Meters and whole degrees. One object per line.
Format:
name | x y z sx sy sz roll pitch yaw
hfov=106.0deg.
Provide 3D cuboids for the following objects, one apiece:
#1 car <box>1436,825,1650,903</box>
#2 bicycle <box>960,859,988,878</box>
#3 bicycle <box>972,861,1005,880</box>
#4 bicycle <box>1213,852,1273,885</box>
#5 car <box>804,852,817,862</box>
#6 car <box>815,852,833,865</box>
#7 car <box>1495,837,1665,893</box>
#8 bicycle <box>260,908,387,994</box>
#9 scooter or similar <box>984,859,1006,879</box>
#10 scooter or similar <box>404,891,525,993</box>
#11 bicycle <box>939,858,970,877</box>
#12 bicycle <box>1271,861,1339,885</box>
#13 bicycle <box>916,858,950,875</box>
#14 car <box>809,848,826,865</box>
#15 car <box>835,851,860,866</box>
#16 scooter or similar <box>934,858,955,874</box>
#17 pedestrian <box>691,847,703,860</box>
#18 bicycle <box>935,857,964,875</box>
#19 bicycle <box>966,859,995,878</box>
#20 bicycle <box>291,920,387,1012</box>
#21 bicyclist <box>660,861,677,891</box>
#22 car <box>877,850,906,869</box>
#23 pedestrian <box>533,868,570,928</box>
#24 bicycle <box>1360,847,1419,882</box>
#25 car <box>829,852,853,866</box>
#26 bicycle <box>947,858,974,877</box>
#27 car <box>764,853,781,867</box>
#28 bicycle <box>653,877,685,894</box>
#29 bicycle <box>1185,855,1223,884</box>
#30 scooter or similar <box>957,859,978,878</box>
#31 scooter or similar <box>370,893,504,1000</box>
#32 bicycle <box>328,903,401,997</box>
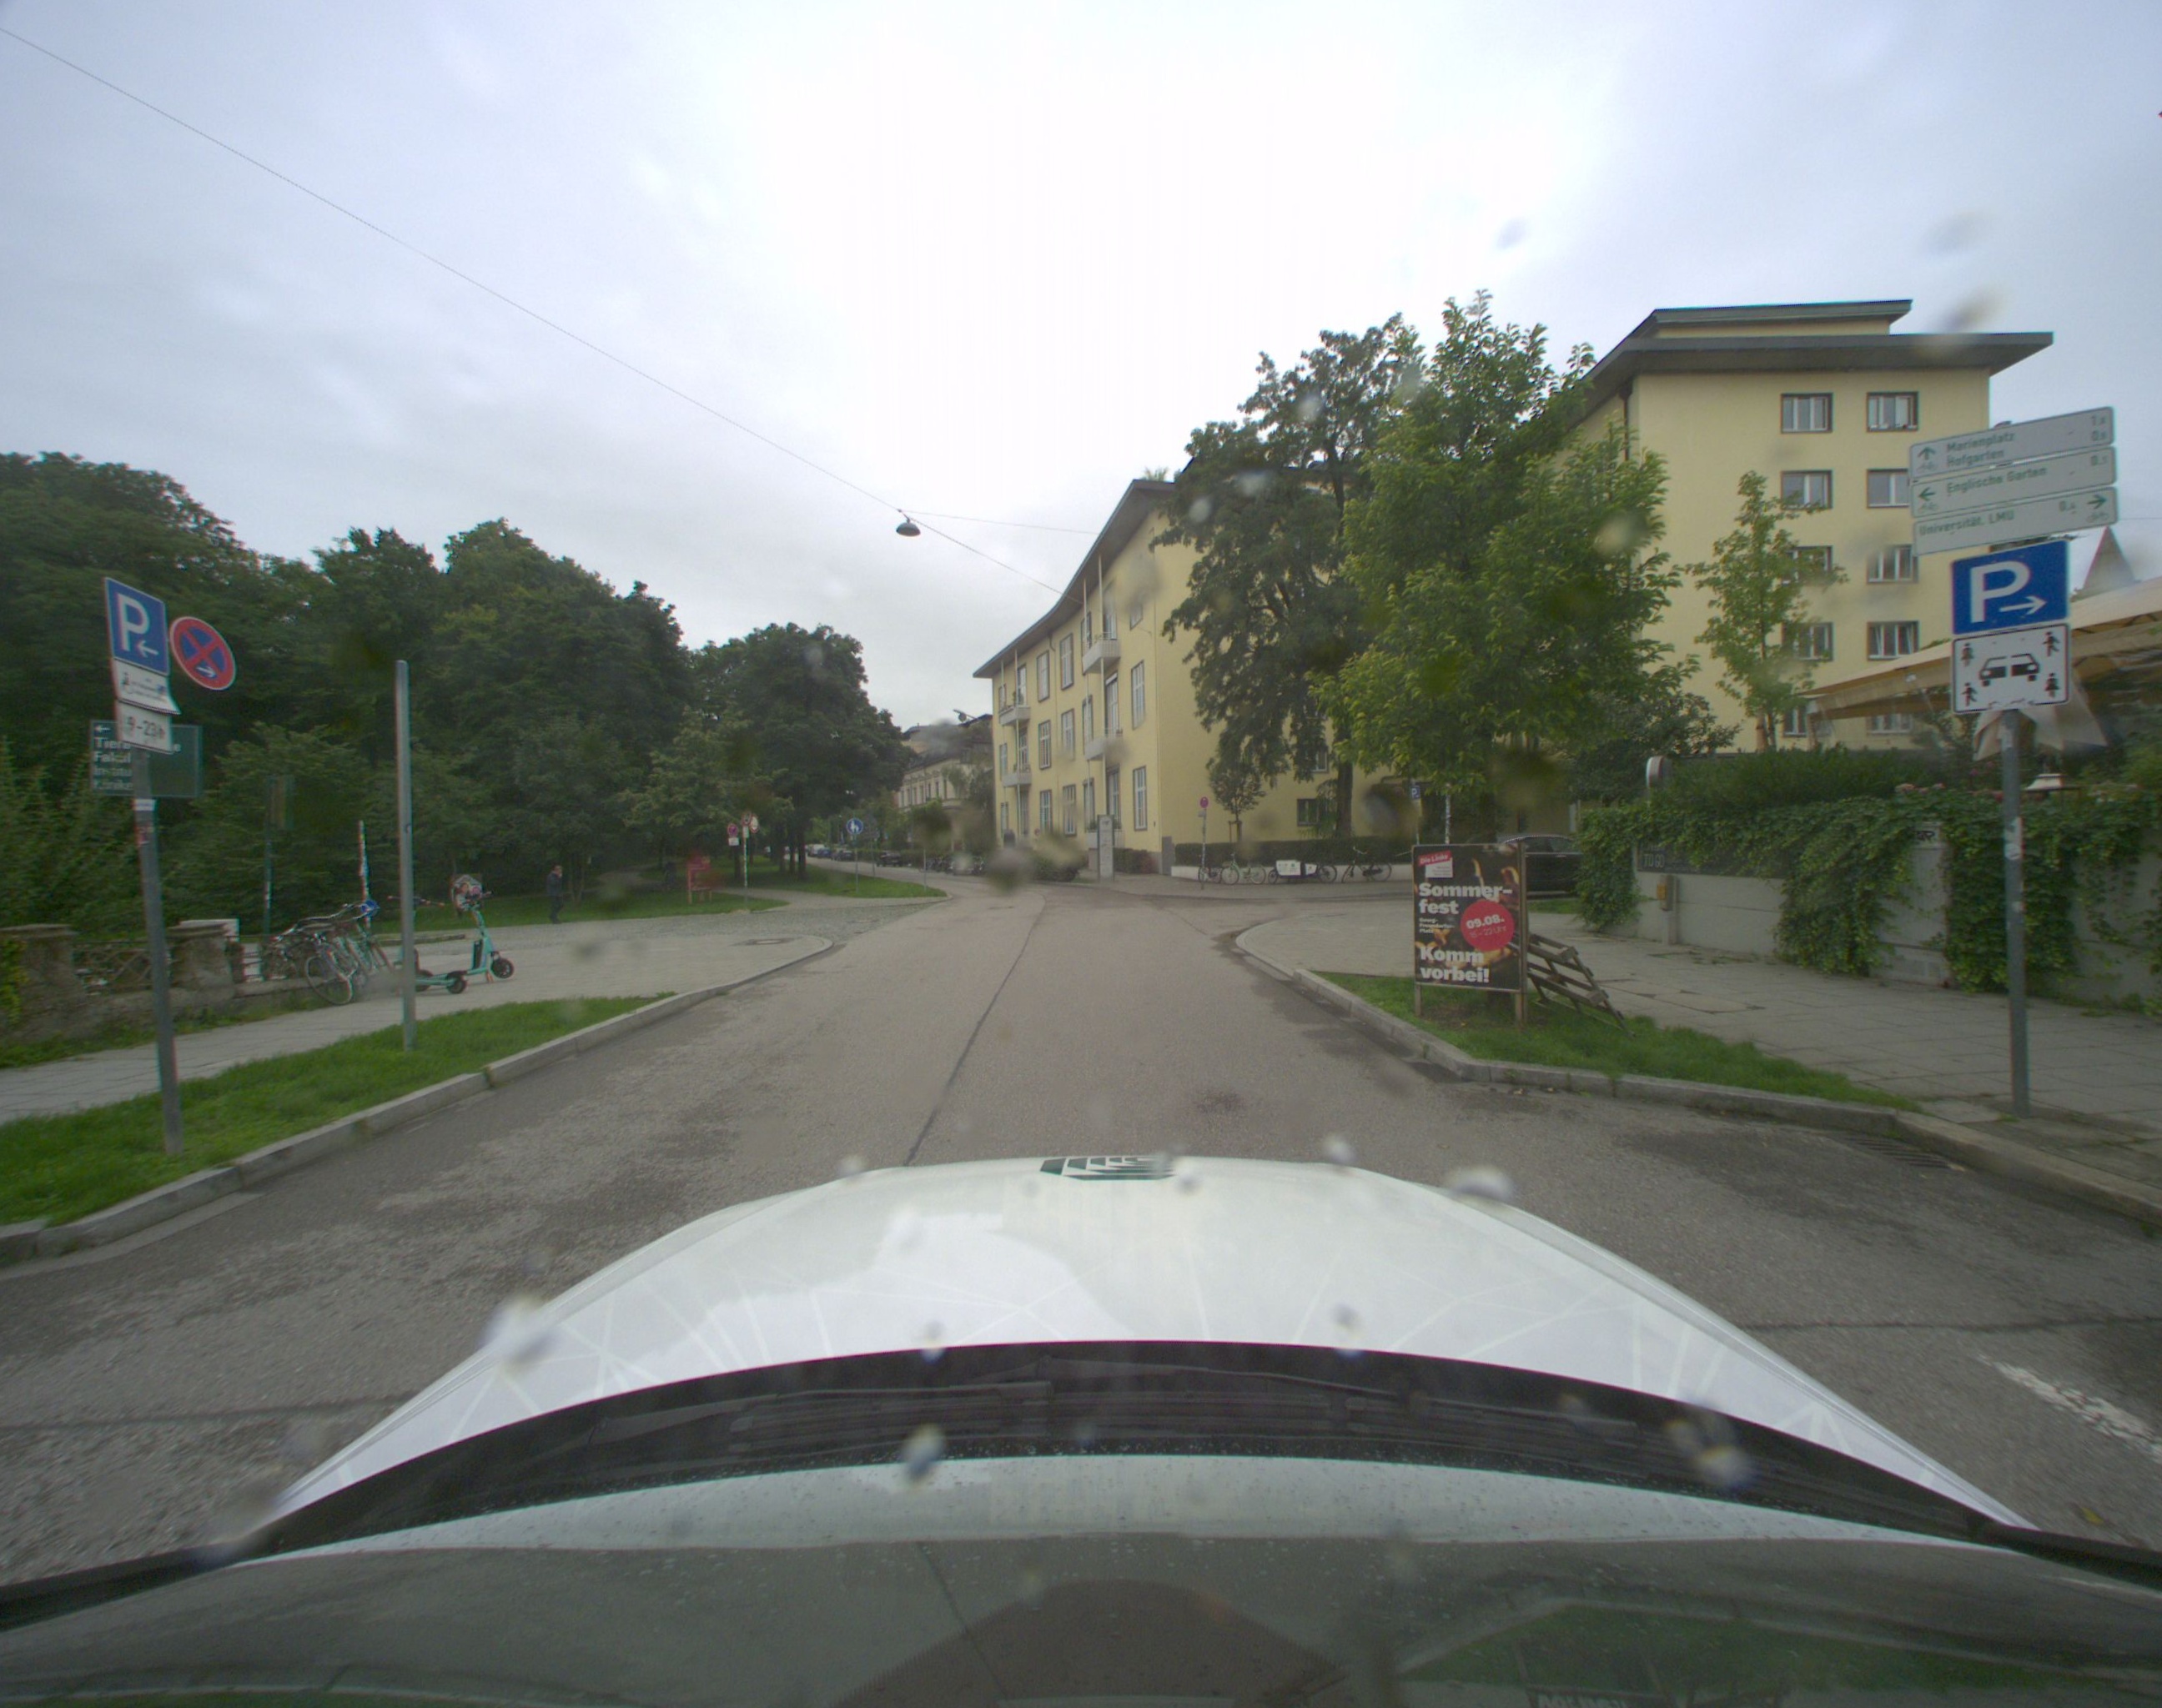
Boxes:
car | 11.725 0.233 20.880 4.354 1.694 2.001 -3 1 -2
bicycle | -6.614 0.903 50.423 0.570 1.085 1.946 -2 1 33
bicycle | -5.410 0.934 47.618 1.833 1.005 0.572 -3 1 -27
bicycle | 5.777 0.503 29.160 0.613 1.117 2.191 -1 0 -40
car | -44.502 0.480 134.116 1.652 1.652 4.251 -2 0 -23
car | -36.279 0.660 114.882 1.884 1.816 3.968 -2 0 -24
car | 14.574 0.316 23.949 3.961 1.435 1.606 -2 -1 2
bicycle | -11.401 1.457 12.250 1.717 1.134 0.657 -5 -1 21
scooter or similar | -4.886 0.842 46.308 0.490 1.109 1.418 -2 1 29
scooter or similar | -8.360 1.165 11.080 0.441 1.220 1.189 -4 0 38
bicycle | -8.039 0.859 51.903 0.689 1.085 2.353 -2 1 26
bicycle | 7.644 0.639 27.807 2.191 0.779 0.613 -1 0 21
bicycle | -10.801 0.889 59.512 2.345 1.085 0.686 -3 1 -29
car | -40.004 0.380 123.582 1.884 2.568 4.892 -2 0 -24
car | -27.692 0.506 96.391 2.187 1.657 4.469 -2 0 -25
scooter or similar | -9.687 0.861 57.795 1.403 1.088 0.595 -2 0 -6
pedestrian | -58.482 -0.022 124.024 1.021 1.945 1.336 -2 1 32
bicycle | -8.656 0.784 53.697 0.755 1.085 2.154 -2 1 26
bicycle | -6.145 0.877 49.845 0.570 1.085 1.946 -2 1 33
bicycle | -8.912 1.318 9.820 0.472 0.923 1.195 -2 0 -24
bicyclist | -20.360 1.085 40.205 0.630 1.460 0.641 -1 0 -21
car | -17.039 0.476 73.166 1.870 1.633 4.253 -2 0 -21
pedestrian | -16.009 1.309 24.637 0.731 1.752 0.655 -2 0 -20
bicycle | 10.358 0.352 27.401 1.726 1.150 0.611 -1 0 5
car | -30.062 0.570 102.006 2.187 1.657 4.469 -2 0 -25
bicycle | -7.558 0.847 51.157 0.631 1.085 1.997 -2 1 26
car | -42.802 0.844 112.853 2.003 1.837 3.968 -2 0 -24
bicycle | -20.323 1.550 40.185 1.362 0.776 0.437 -1 0 -21
bicycle | 4.722 0.569 31.436 0.609 1.072 2.206 -2 1 -15
scooter or similar | -7.067 0.889 50.797 0.490 1.088 1.418 -2 1 29
scooter or similar | -8.160 1.156 10.346 1.173 1.220 0.603 -4 0 3
bicycle | -9.966 1.295 11.311 0.658 1.134 1.483 -2 0 -45
